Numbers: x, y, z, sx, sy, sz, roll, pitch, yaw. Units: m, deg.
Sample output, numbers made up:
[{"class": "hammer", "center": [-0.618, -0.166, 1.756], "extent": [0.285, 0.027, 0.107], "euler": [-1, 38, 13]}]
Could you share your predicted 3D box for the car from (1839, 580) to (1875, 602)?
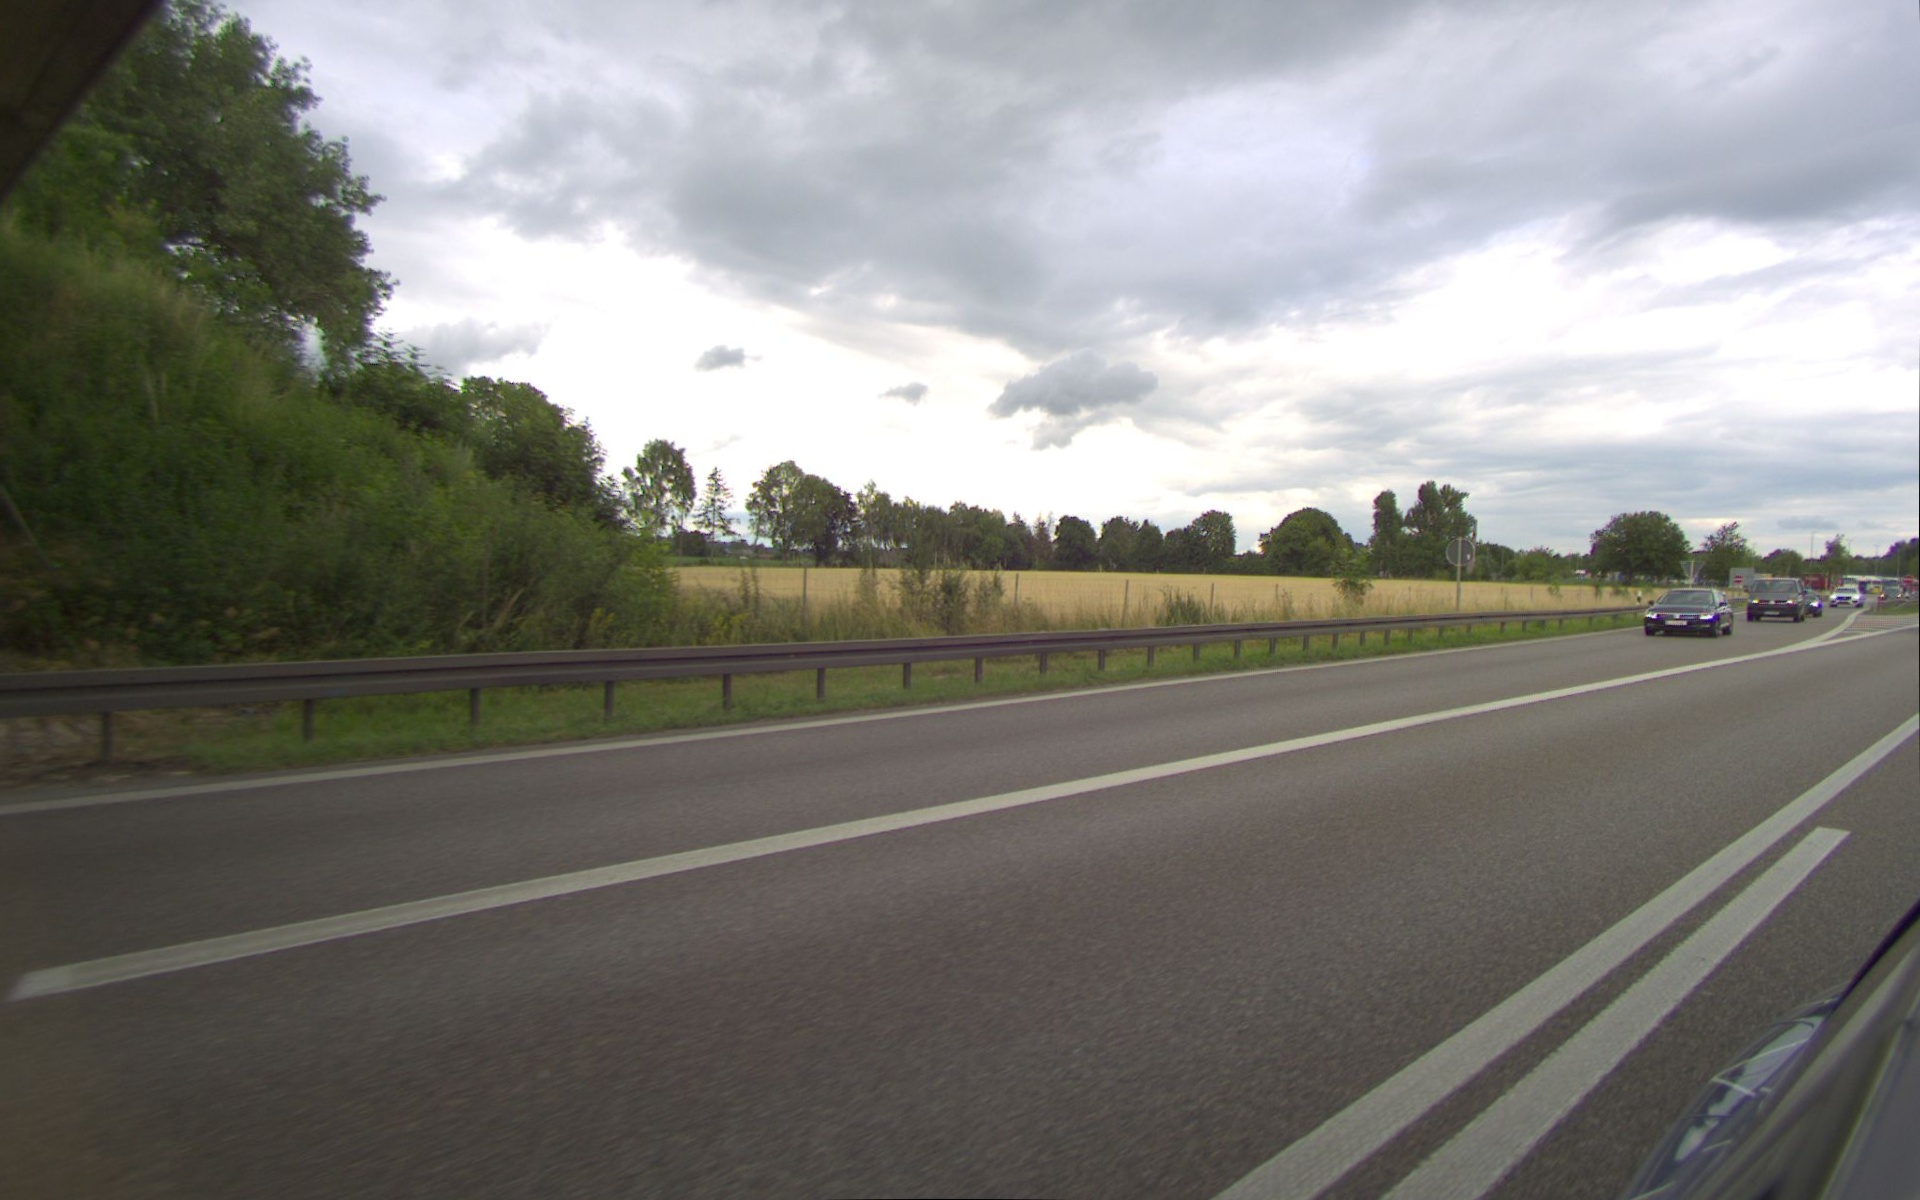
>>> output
[{"class": "car", "center": [75.064, -0.812, 84.646], "extent": [4.982, 1.778, 1.830], "euler": [-1, 2, -44]}]

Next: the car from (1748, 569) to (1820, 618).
[{"class": "car", "center": [37.389, -0.309, 45.888], "extent": [2.144, 2.089, 4.880], "euler": [0, 1, 44]}]

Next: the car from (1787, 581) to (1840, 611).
[{"class": "car", "center": [45.985, -0.233, 54.482], "extent": [4.519, 1.503, 1.751], "euler": [-1, 1, -45]}]

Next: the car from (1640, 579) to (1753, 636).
[{"class": "car", "center": [22.779, 0.158, 31.248], "extent": [4.841, 1.569, 1.920], "euler": [-1, 3, -43]}]
